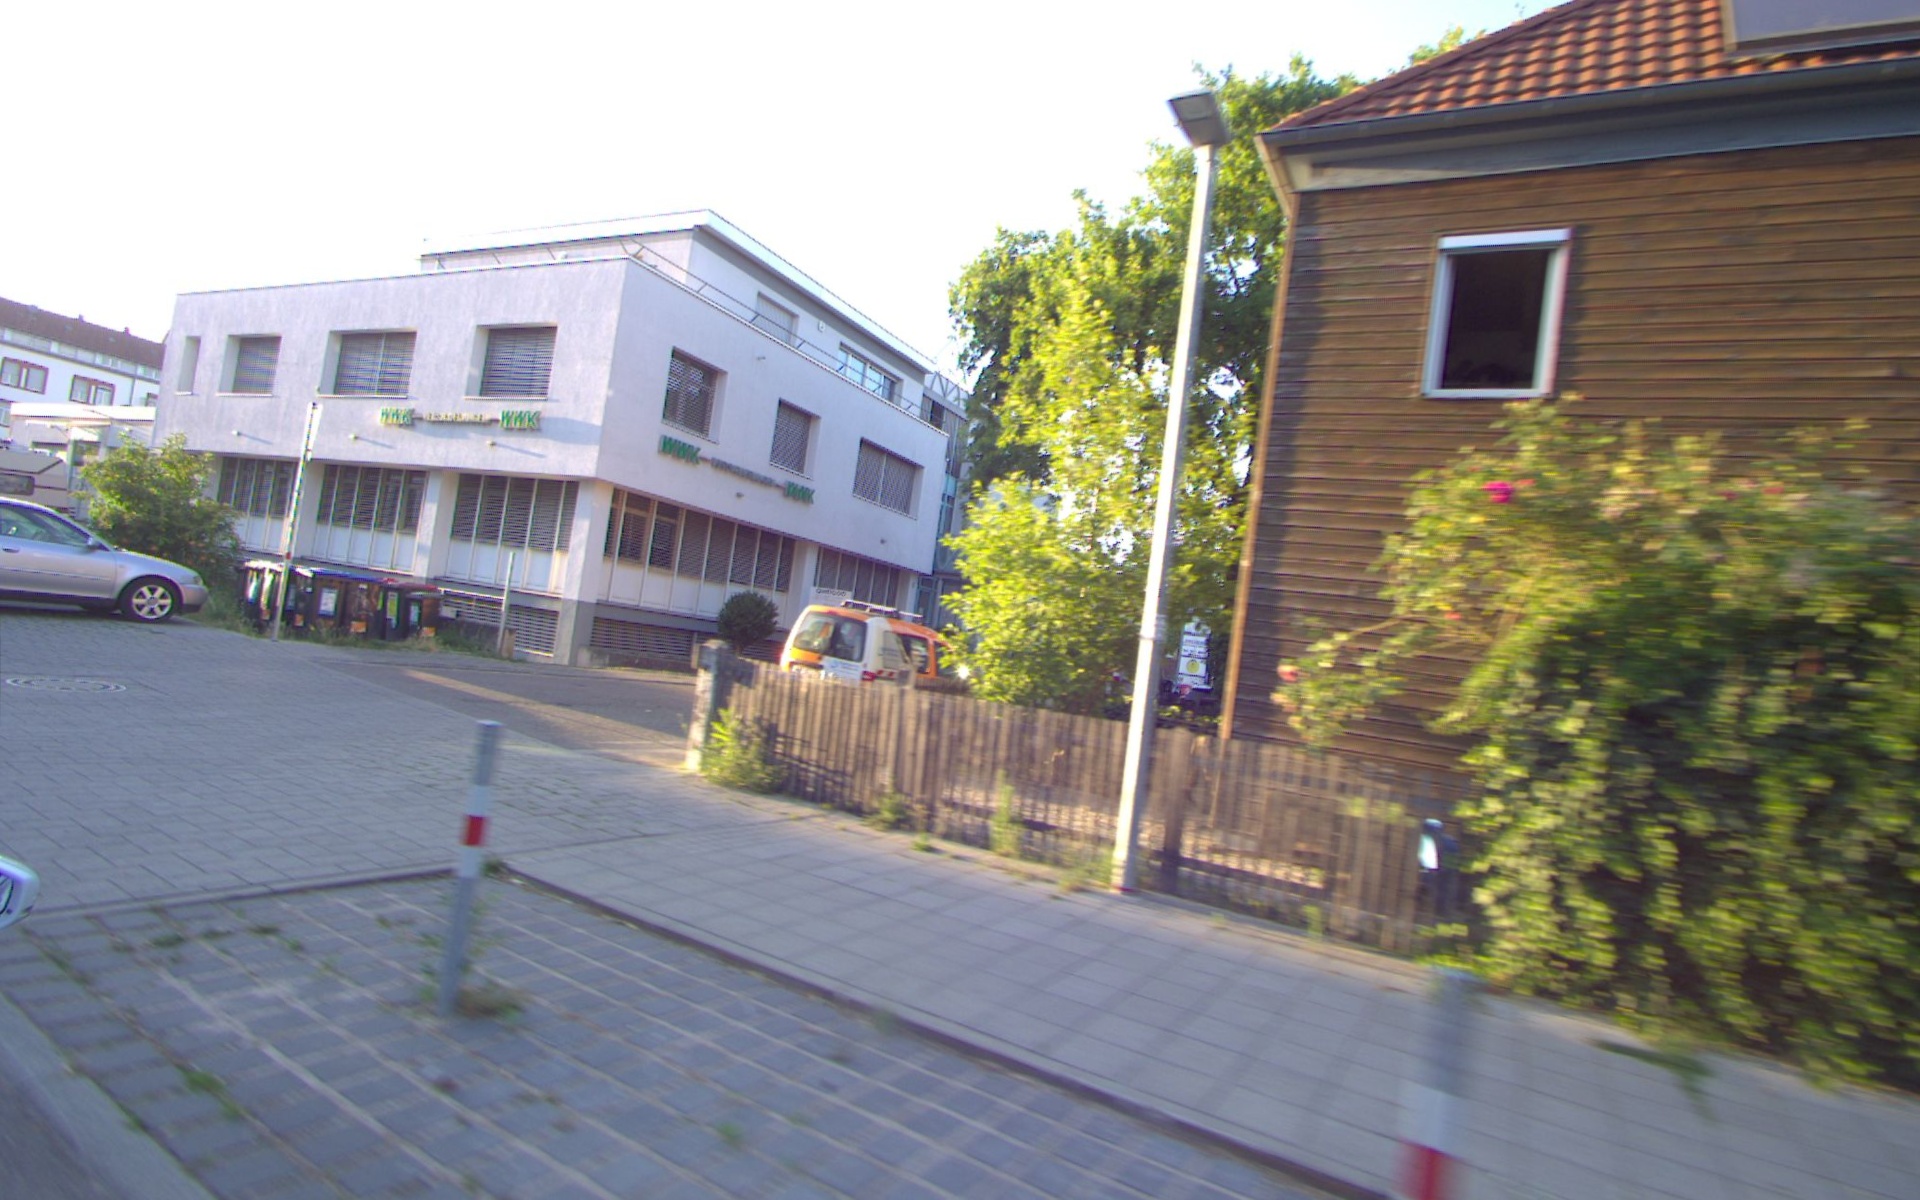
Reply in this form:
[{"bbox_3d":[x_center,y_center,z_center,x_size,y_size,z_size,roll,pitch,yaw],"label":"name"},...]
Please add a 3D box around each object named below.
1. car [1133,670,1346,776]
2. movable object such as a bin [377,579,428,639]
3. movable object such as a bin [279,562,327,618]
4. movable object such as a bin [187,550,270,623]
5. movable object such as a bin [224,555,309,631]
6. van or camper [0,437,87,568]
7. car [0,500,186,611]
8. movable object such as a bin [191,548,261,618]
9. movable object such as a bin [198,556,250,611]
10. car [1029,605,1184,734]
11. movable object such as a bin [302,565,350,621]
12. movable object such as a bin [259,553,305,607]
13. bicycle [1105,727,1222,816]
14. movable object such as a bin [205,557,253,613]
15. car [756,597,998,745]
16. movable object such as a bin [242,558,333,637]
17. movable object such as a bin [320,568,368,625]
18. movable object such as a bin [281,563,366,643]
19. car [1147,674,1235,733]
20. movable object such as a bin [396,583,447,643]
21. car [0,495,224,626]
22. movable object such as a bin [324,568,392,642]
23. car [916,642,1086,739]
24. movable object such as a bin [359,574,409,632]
[{"bbox_3d":[5.526,2.396,19.930,3.550,1.471,1.956,6,-3,32],"label":"car"},{"bbox_3d":[-9.613,0.153,17.349,0.517,0.942,0.468,6,-1,31],"label":"movable object such as a bin"},{"bbox_3d":[-12.210,-0.185,18.700,0.517,0.942,0.468,6,-1,31],"label":"movable object such as a bin"},{"bbox_3d":[-11.658,-0.209,16.042,0.699,1.033,0.707,7,-2,24],"label":"movable object such as a bin"},{"bbox_3d":[-10.726,-0.107,15.576,0.699,1.033,0.707,7,-2,24],"label":"movable object such as a bin"},{"bbox_3d":[-24.448,-2.626,23.248,2.445,2.897,5.792,6,-2,31],"label":"van or camper"},{"bbox_3d":[-14.095,-0.794,14.389,1.864,1.348,4.325,6,-2,30],"label":"car"},{"bbox_3d":[-12.093,-0.272,16.575,0.551,1.033,0.623,7,-2,24],"label":"movable object such as a bin"},{"bbox_3d":[-12.737,-0.279,17.410,0.389,0.867,0.501,7,-2,24],"label":"movable object such as a bin"},{"bbox_3d":[3.740,1.780,24.732,2.061,2.588,4.755,8,-2,27],"label":"car"},{"bbox_3d":[-11.652,-0.119,18.498,0.517,0.942,0.468,6,-1,31],"label":"movable object such as a bin"},{"bbox_3d":[-12.914,-0.386,19.162,0.517,0.942,0.468,6,-1,31],"label":"movable object such as a bin"},{"bbox_3d":[2.237,1.842,10.917,0.557,0.806,1.699,7,-3,34],"label":"bicycle"},{"bbox_3d":[-12.360,-0.245,17.007,0.389,0.867,0.416,7,-2,24],"label":"movable object such as a bin"},{"bbox_3d":[-1.132,1.171,15.701,1.751,1.786,3.954,8,-2,27],"label":"car"},{"bbox_3d":[-10.027,-0.033,15.005,0.699,1.033,0.759,7,-2,24],"label":"movable object such as a bin"},{"bbox_3d":[-11.146,-0.063,18.205,0.517,0.942,0.468,6,-1,31],"label":"movable object such as a bin"},{"bbox_3d":[-9.266,0.053,14.651,0.699,1.033,0.645,7,-2,24],"label":"movable object such as a bin"},{"bbox_3d":[7.900,3.539,34.199,1.923,1.573,3.609,8,-2,27],"label":"car"},{"bbox_3d":[-9.147,0.220,17.079,0.517,0.942,0.468,6,-1,31],"label":"movable object such as a bin"},{"bbox_3d":[-12.244,-0.618,12.866,1.864,1.424,4.064,7,-1,30],"label":"car"},{"bbox_3d":[-9.243,0.087,15.451,0.438,1.033,0.645,7,-2,24],"label":"movable object such as a bin"},{"bbox_3d":[0.914,1.837,20.115,1.923,1.471,3.609,8,-2,27],"label":"car"},{"bbox_3d":[-10.125,0.052,17.680,0.517,0.942,0.468,6,-1,31],"label":"movable object such as a bin"}]
